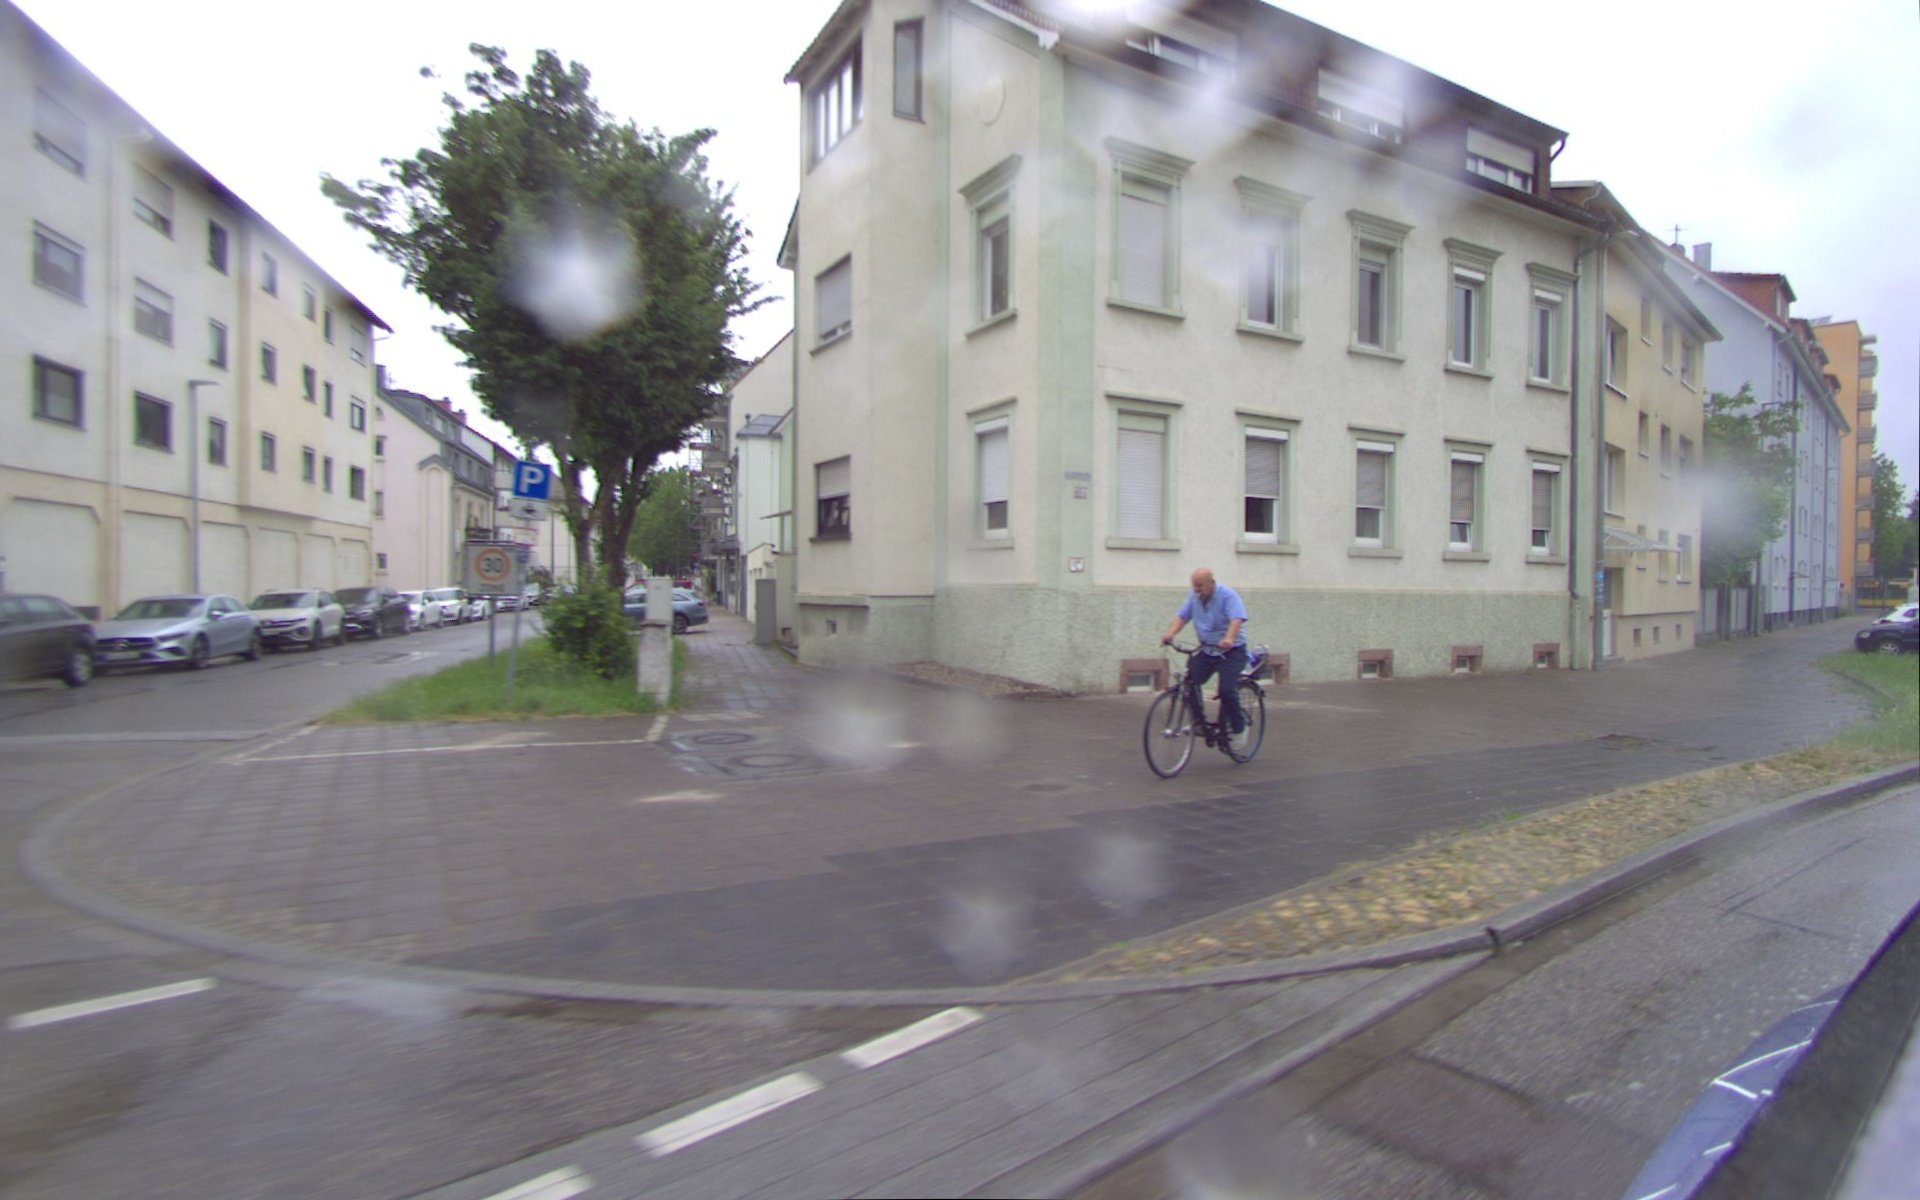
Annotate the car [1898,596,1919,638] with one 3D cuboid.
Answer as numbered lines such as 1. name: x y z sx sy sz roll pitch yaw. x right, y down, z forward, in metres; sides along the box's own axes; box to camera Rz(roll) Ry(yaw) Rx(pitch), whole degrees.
1. car: 36.851 0.616 36.449 2.016 1.495 4.382 -1 1 -43

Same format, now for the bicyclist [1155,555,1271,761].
1. bicyclist: 2.092 0.451 8.374 0.703 1.602 0.639 1 0 -41

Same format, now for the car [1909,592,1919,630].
1. car: 40.136 0.461 39.702 1.623 1.495 4.165 -1 1 -43

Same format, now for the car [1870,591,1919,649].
1. car: 25.995 0.538 26.017 1.771 1.473 3.754 2 -1 -44

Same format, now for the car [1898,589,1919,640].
1. car: 33.011 0.479 32.679 1.663 1.635 3.918 -1 1 -43

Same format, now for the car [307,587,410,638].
1. car: -18.317 0.333 31.000 1.701 1.446 4.188 -1 1 -16

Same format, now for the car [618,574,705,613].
1. car: -16.001 -0.370 54.290 4.369 2.039 1.742 -1 1 -20

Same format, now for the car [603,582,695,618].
1. car: -14.309 -0.020 46.634 3.916 1.594 2.004 -1 1 -17

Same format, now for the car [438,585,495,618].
1. car: -22.566 0.043 46.395 1.701 1.406 3.717 -1 1 -16

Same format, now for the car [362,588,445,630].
1. car: -19.941 0.277 36.425 1.701 1.406 4.188 -1 1 -16

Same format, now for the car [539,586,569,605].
1. car: -30.984 -0.386 77.269 1.701 1.406 3.717 -1 1 -16

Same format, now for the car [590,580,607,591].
1. car: -44.179 -1.758 123.619 1.701 1.406 3.717 -1 1 -16

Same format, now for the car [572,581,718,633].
1. car: -10.100 0.195 32.434 4.372 1.553 1.741 -1 1 -21

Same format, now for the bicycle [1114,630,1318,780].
1. bicycle: 2.178 0.809 8.456 1.937 1.073 0.674 0 0 -41

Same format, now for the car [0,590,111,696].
1. car: -13.982 0.592 14.095 1.701 1.420 4.008 -1 1 -14

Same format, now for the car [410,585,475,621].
1. car: -21.490 0.108 42.124 1.701 1.406 3.717 0 1 -16

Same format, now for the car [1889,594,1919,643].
1. car: 31.242 0.590 31.041 1.826 1.499 3.918 -1 1 -43

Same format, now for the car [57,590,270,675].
1. car: -15.168 0.541 19.579 1.701 1.420 4.188 -1 1 -15

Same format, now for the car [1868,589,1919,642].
1. car: 27.788 0.448 27.867 1.902 1.473 4.056 2 -1 -44

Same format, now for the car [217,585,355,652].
1. car: -16.936 0.405 25.655 1.701 1.535 4.188 -1 1 -16

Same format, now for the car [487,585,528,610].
1. car: -26.809 -0.158 60.060 1.701 1.406 3.717 -1 1 -16
